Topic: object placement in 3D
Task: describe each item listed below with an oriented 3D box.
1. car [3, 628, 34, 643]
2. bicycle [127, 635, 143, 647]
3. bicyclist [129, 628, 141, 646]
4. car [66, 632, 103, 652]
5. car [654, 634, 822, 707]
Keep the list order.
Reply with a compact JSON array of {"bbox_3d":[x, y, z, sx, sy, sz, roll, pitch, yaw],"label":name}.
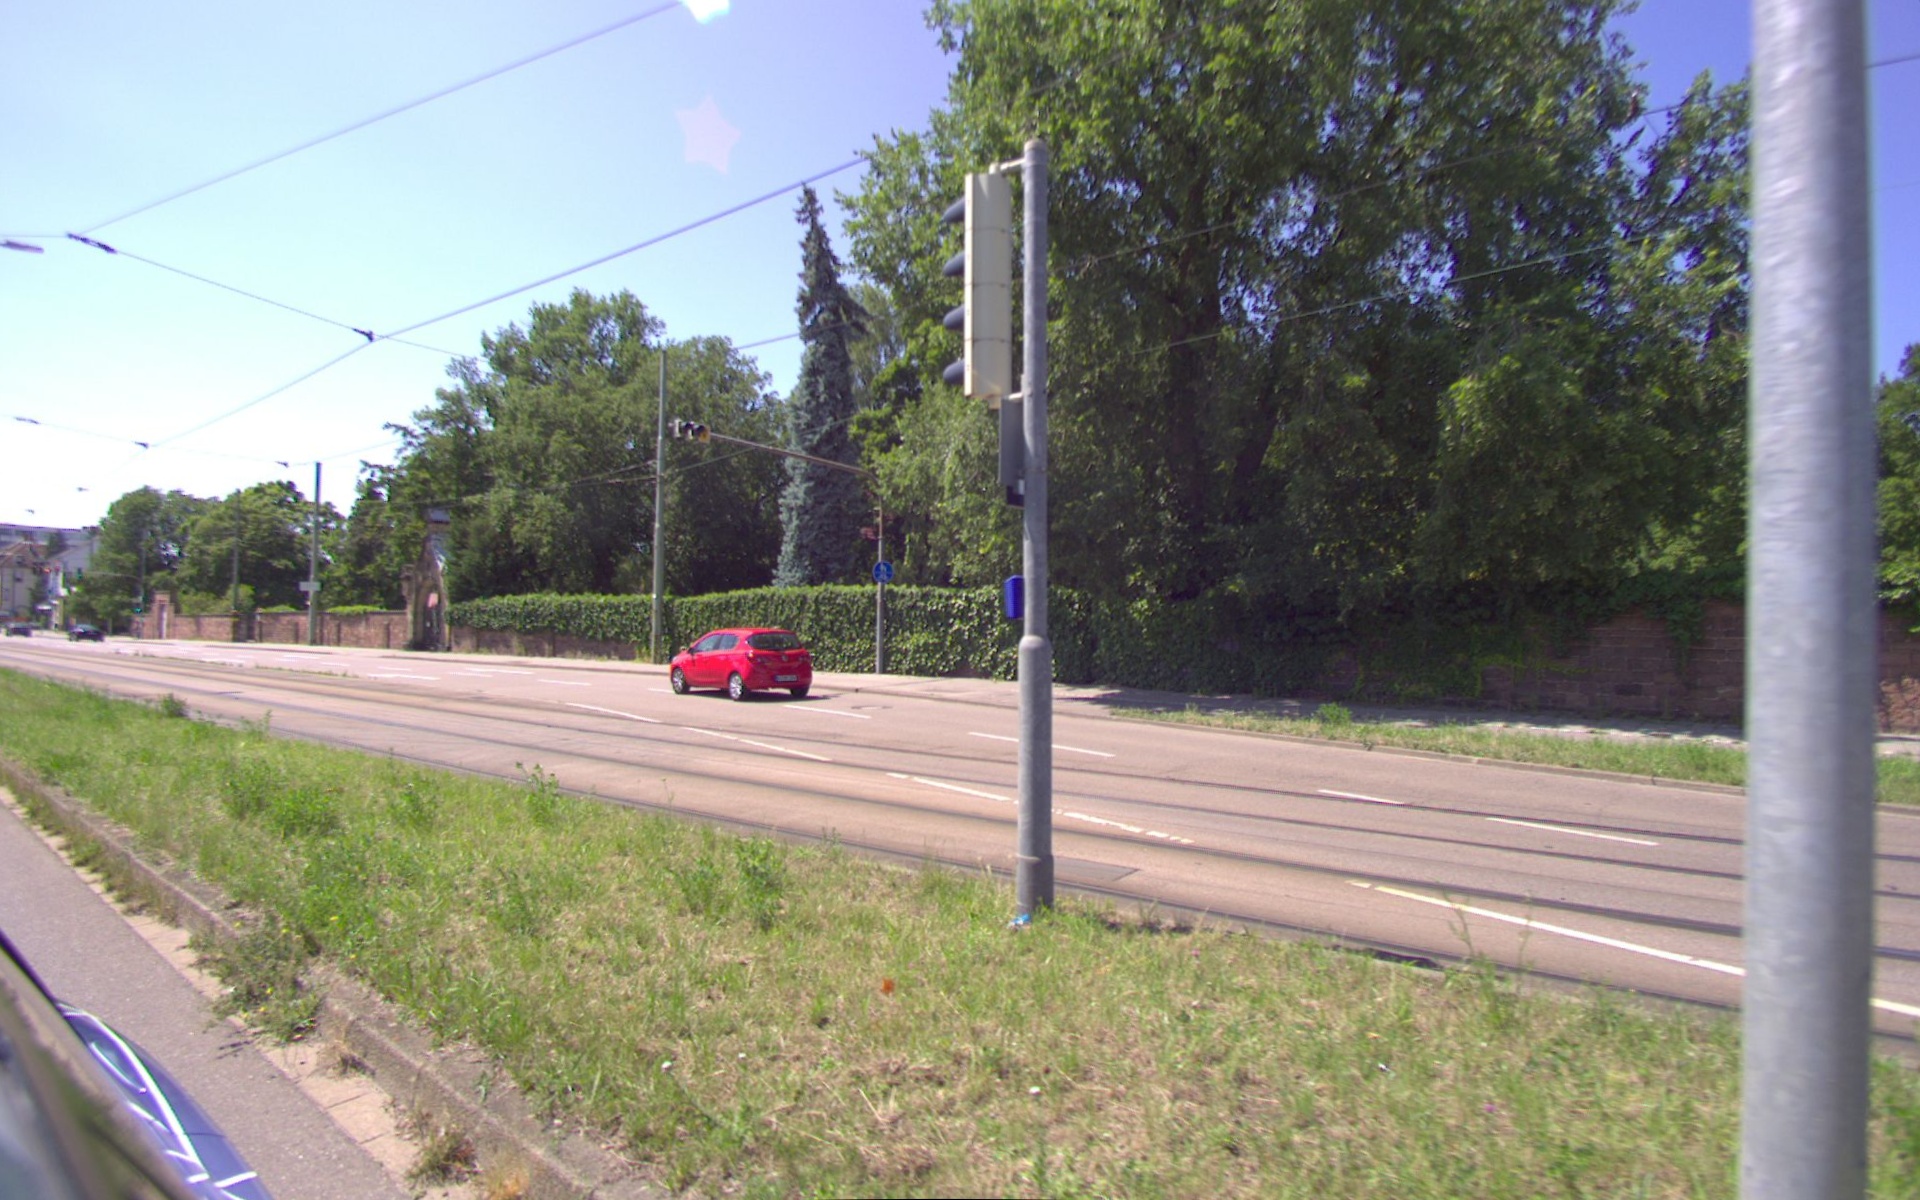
[{"bbox_3d":[-97.399,3.656,104.641,5.031,1.427,1.821,-2,0,41],"label":"car"},{"bbox_3d":[-69.565,3.427,85.329,2.112,0.964,0.646,-1,-2,39],"label":"bicycle"},{"bbox_3d":[-69.586,3.079,85.360,0.662,1.508,0.646,-1,-2,39],"label":"bicyclist"},{"bbox_3d":[-69.029,3.313,79.740,4.122,1.459,1.737,-1,-1,43],"label":"car"},{"bbox_3d":[-4.921,1.457,22.054,1.685,1.425,4.286,1,-2,-42],"label":"car"}]
